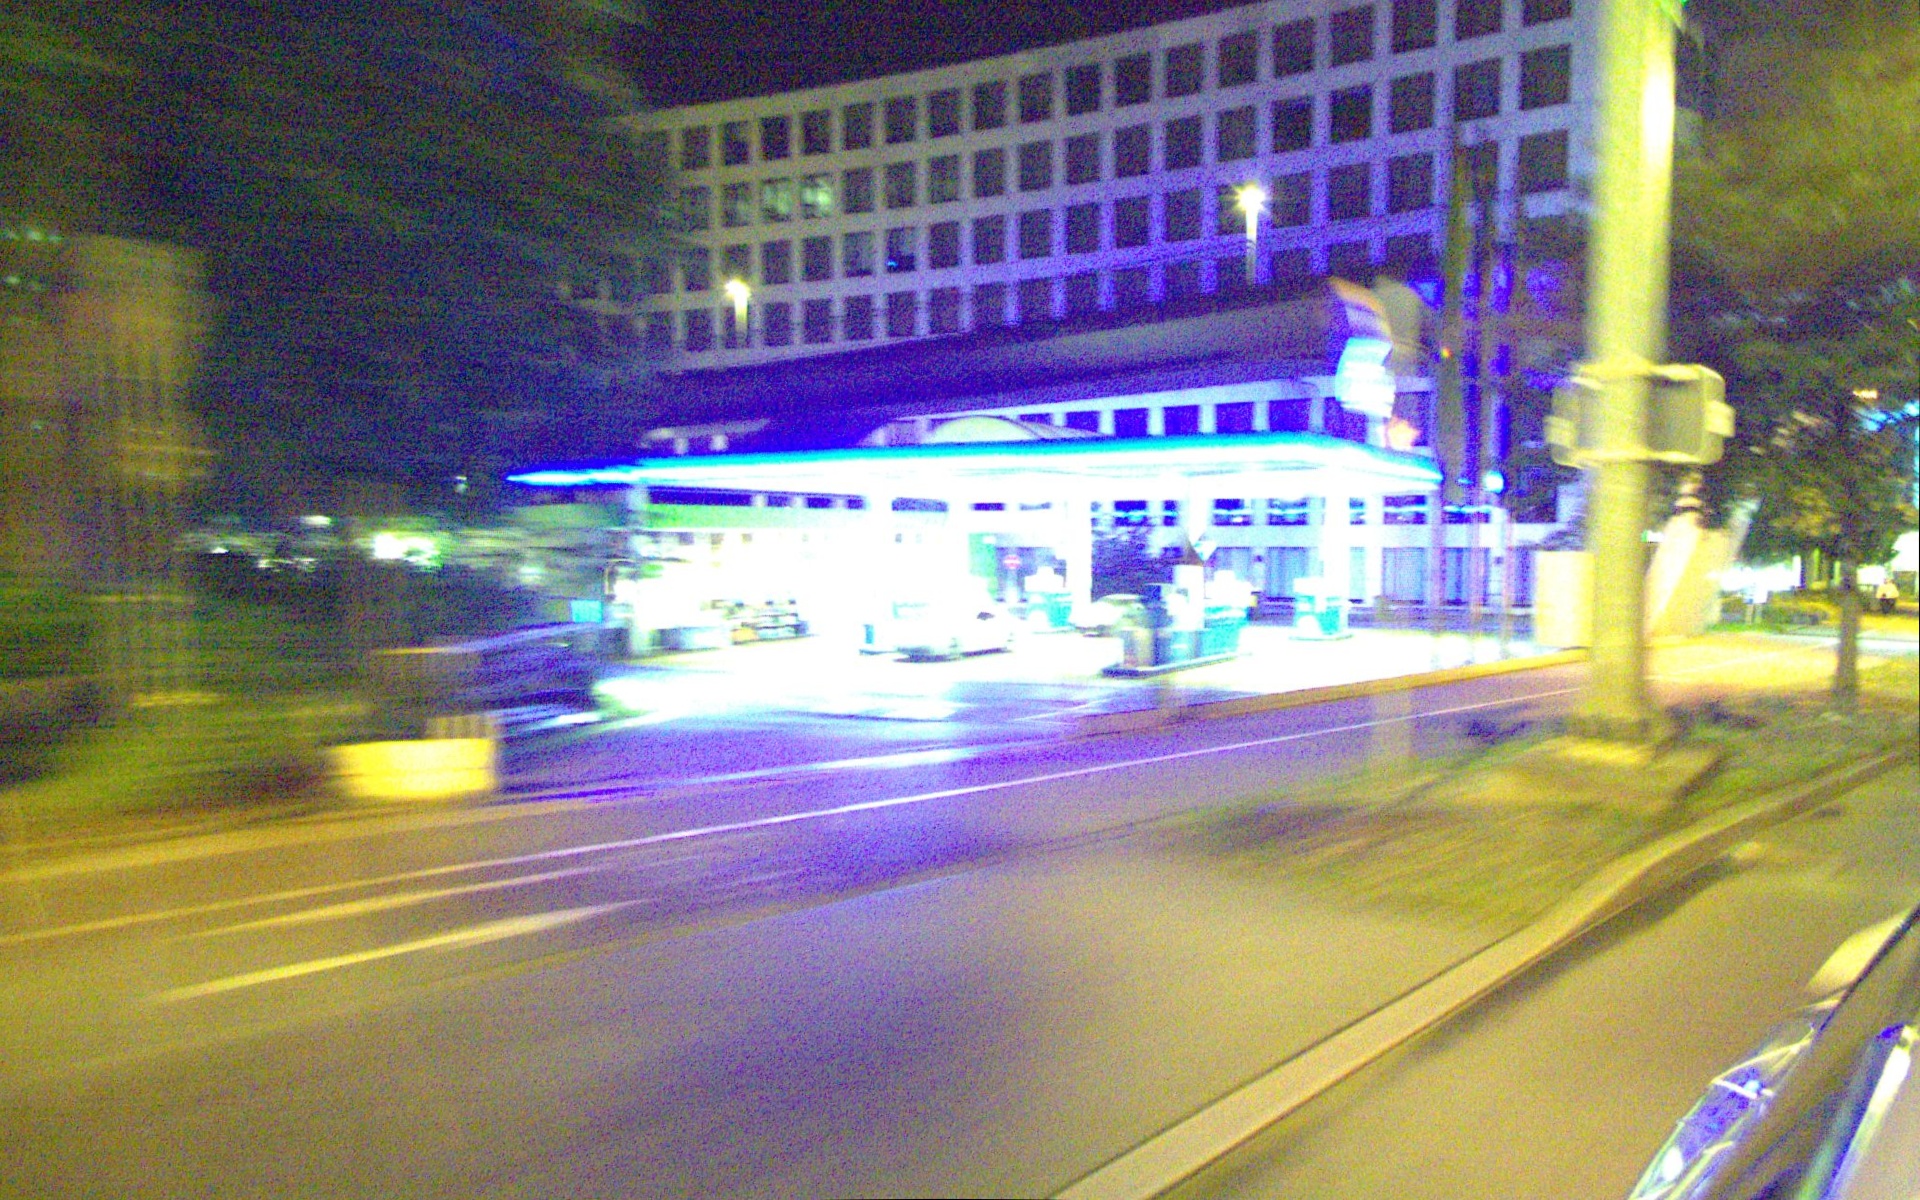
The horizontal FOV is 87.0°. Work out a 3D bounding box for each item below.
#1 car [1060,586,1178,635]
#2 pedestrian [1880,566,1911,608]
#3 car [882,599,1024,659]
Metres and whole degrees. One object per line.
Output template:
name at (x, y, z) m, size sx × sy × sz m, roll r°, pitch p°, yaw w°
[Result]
car at (5.408, 0.299, 34.083) m, size 1.926 × 1.379 × 4.269 m, roll 2°, pitch 3°, yaw 42°
pedestrian at (44.620, -0.618, 48.281) m, size 0.778 × 1.936 × 0.808 m, roll -1°, pitch 4°, yaw -34°
car at (-0.117, 0.729, 27.608) m, size 1.651 × 1.375 × 4.010 m, roll 1°, pitch 2°, yaw 41°
